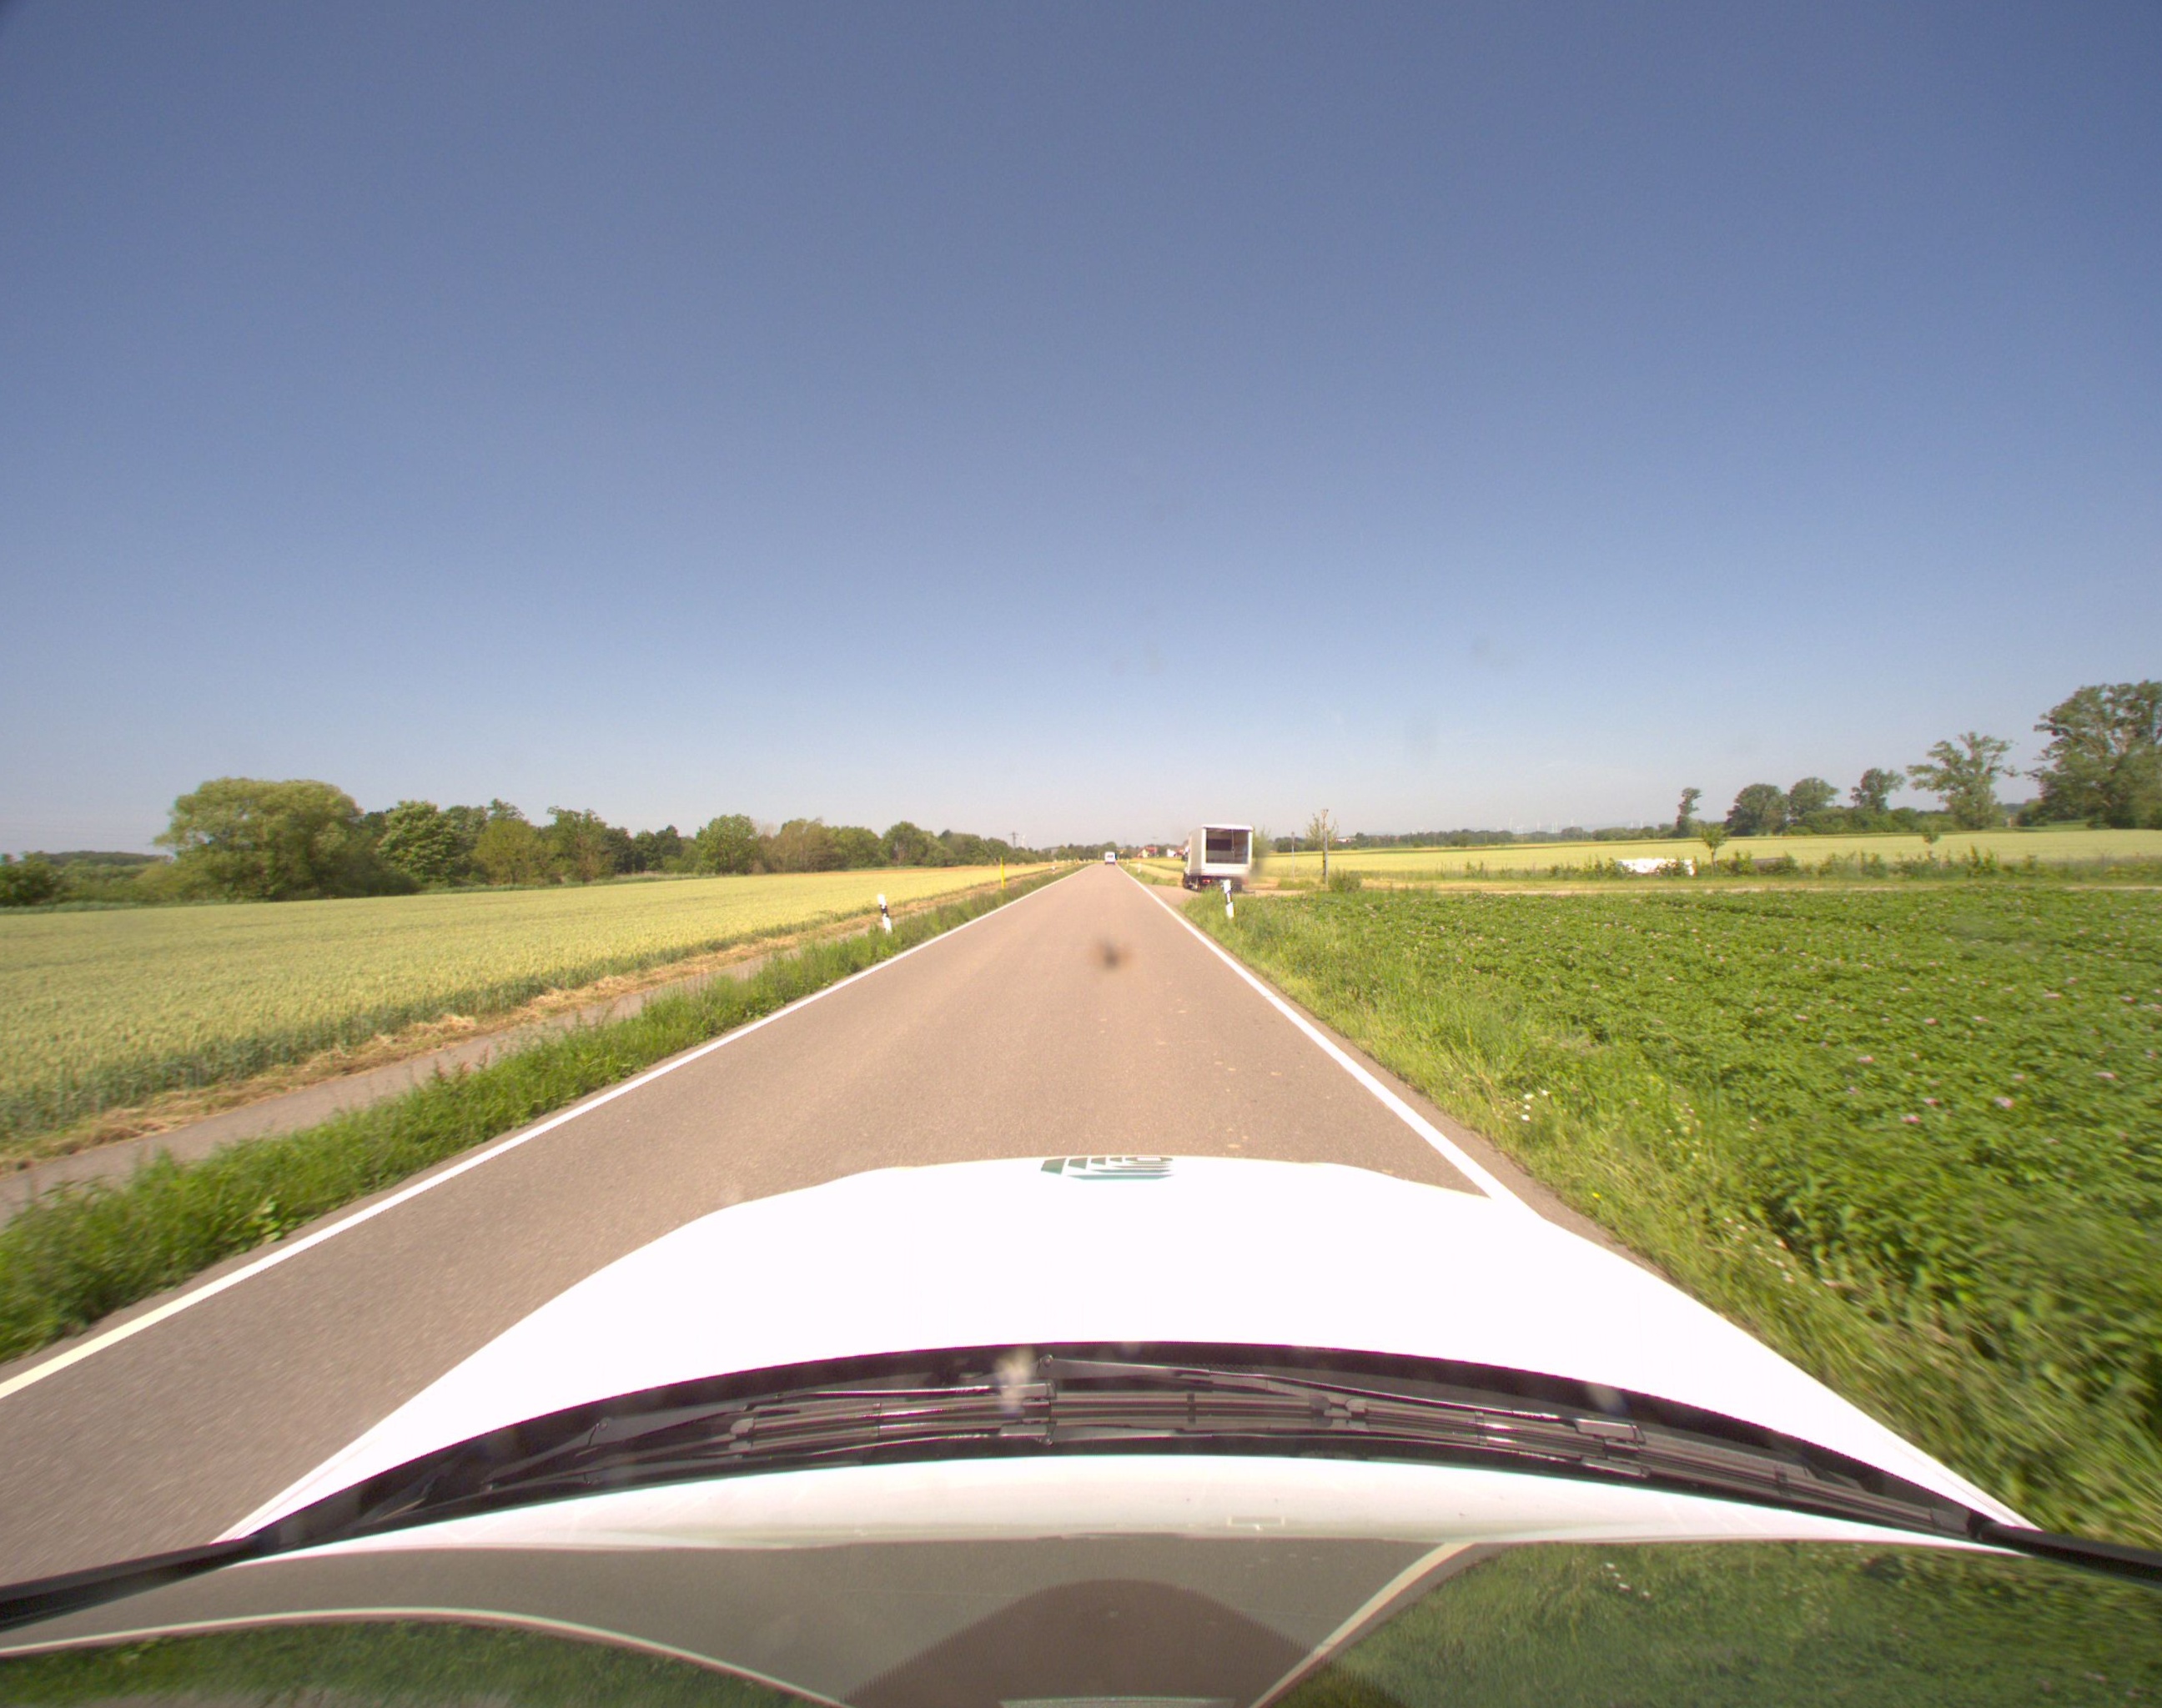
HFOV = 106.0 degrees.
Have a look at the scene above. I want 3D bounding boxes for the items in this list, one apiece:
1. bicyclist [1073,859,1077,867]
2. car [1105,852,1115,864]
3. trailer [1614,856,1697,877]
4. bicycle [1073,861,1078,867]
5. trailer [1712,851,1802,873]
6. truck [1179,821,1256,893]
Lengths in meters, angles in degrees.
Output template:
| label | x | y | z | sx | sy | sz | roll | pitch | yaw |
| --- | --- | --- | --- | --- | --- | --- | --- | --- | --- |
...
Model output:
| label | x | y | z | sx | sy | sz | roll | pitch | yaw |
| --- | --- | --- | --- | --- | --- | --- | --- | --- | --- |
| bicyclist | -1.257 | 2.037 | 181.923 | 0.757 | 1.672 | 1.089 | -3 | -1 | 2 |
| car | 5.803 | 0.792 | 162.670 | 2.099 | 2.304 | 5.497 | 0 | 0 | 2 |
| trailer | 33.379 | 0.738 | 47.406 | 3.560 | 1.189 | 1.669 | 0 | -1 | 13 |
| bicycle | -1.242 | 2.249 | 181.880 | 0.756 | 1.236 | 2.395 | -4 | -1 | 2 |
| trailer | 38.016 | 0.471 | 45.854 | 3.513 | 1.189 | 1.669 | -1 | -1 | 13 |
| truck | 6.102 | 0.148 | 37.441 | 2.328 | 2.942 | 7.007 | 1 | 0 | 0 |
